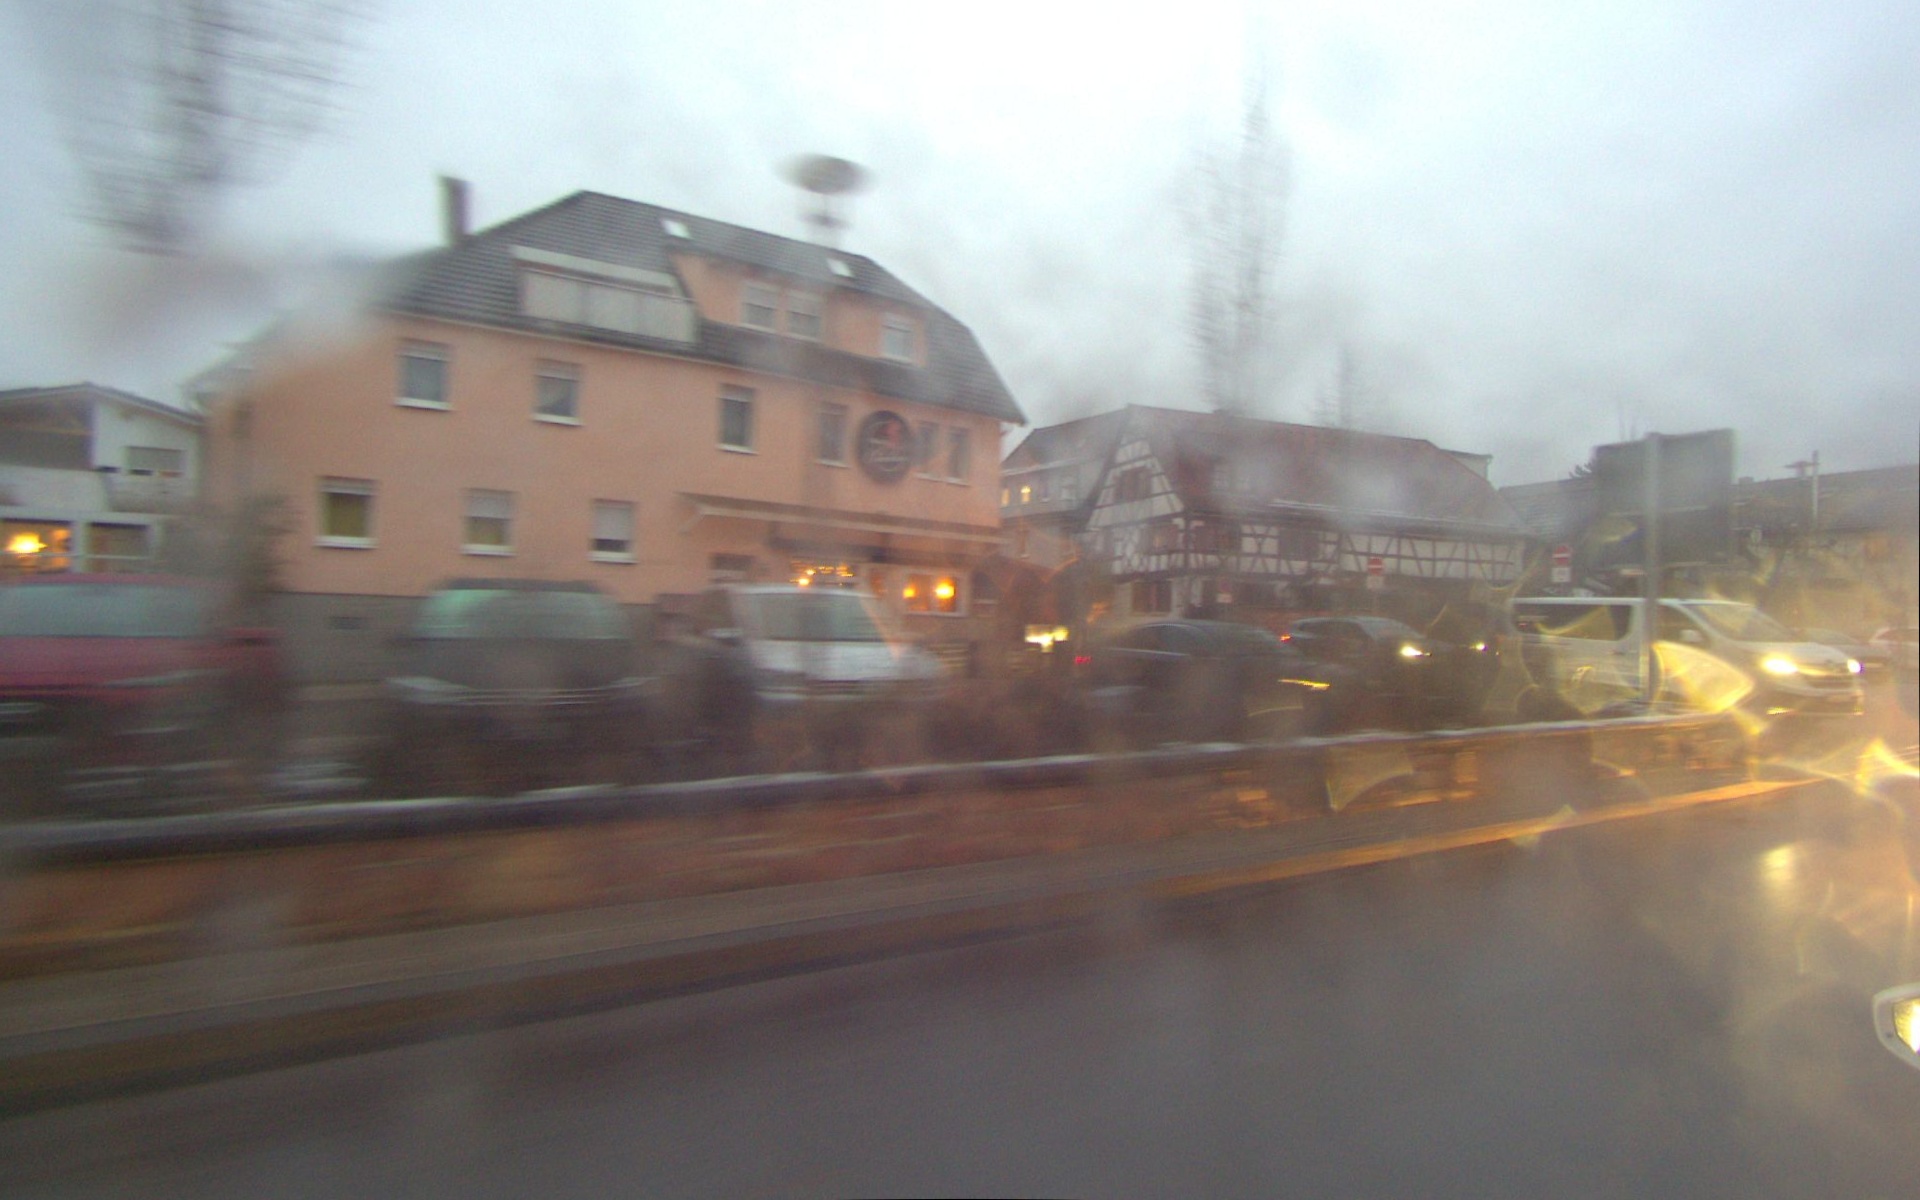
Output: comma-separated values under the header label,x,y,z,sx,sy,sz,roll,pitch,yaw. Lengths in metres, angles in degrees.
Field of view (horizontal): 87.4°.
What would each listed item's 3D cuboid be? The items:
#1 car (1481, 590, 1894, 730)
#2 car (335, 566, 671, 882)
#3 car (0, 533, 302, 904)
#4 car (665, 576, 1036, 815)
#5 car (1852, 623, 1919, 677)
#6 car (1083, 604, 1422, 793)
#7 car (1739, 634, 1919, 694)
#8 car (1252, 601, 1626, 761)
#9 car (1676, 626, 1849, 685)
label,x,y,z,sx,sy,sz,roll,pitch,yaw
car,11.971,0.849,17.232,1.958,1.972,5.760,1,0,-16
car,-3.999,0.799,8.473,1.977,1.891,4.481,1,-2,-30
car,-5.932,0.642,7.106,1.846,1.891,4.481,1,-2,-30
car,-1.380,0.732,9.784,1.975,1.706,4.847,0,-1,-28
car,30.702,1.586,31.448,1.947,1.675,4.660,1,-2,9
car,3.474,1.133,12.699,1.729,1.977,4.010,1,-3,-30
car,24.147,1.731,28.134,1.722,1.478,4.076,1,-1,4
car,5.948,0.920,12.955,1.976,1.706,3.968,1,-2,-30
car,21.473,1.446,27.092,1.727,1.478,3.936,0,-2,5
